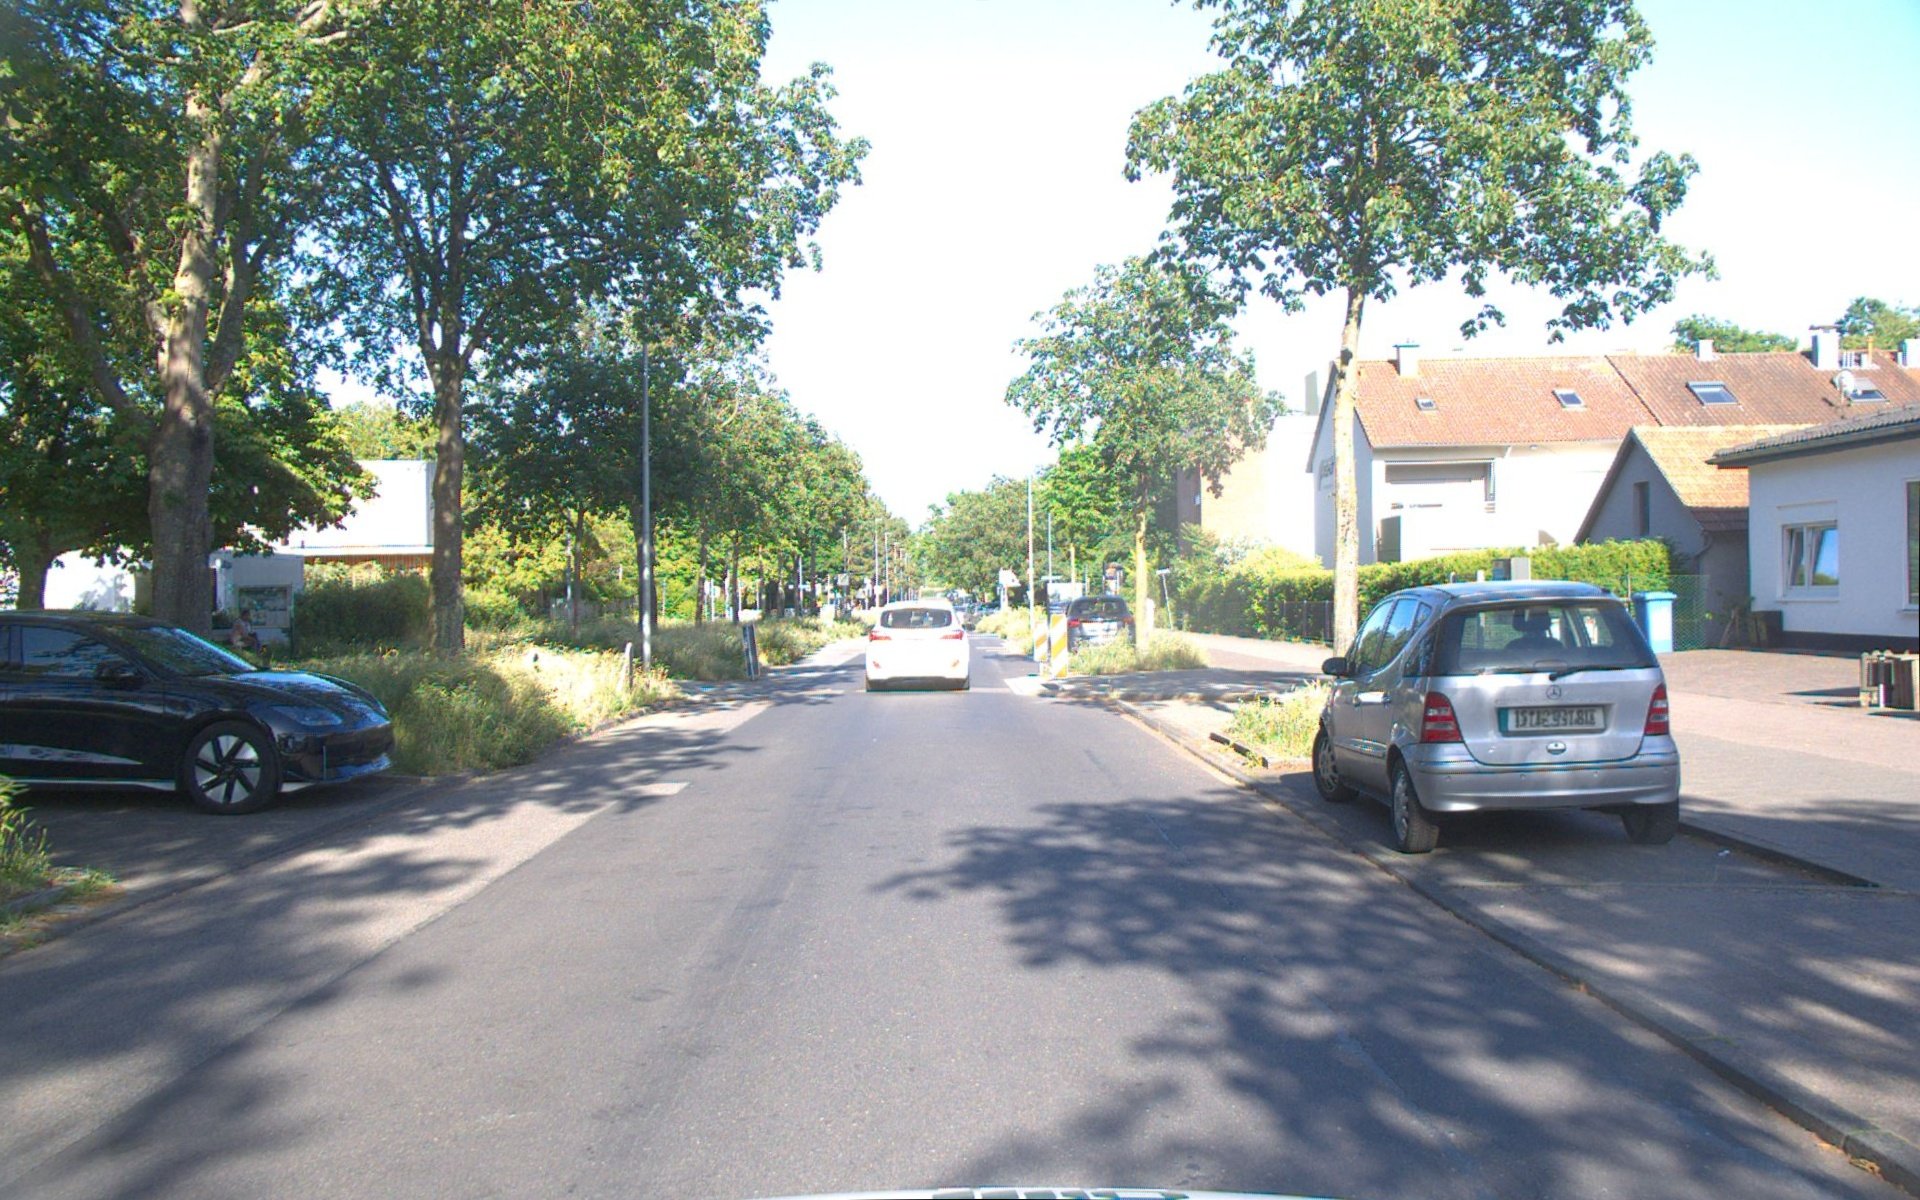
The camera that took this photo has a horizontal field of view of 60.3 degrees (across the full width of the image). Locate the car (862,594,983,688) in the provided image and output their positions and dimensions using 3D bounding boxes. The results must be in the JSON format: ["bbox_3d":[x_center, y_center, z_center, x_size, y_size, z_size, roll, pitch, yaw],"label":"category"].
[{"bbox_3d":[-0.618,0.661,28.982,1.953,1.480,4.224,-1,0,0],"label":"car"}]

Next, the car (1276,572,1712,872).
[{"bbox_3d":[3.463,0.705,11.605,1.577,1.650,4.381,2,0,0],"label":"car"}]

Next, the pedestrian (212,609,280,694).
[{"bbox_3d":[-15.954,1.139,37.013,1.205,1.859,1.543,1,-1,-17],"label":"pedestrian"}]

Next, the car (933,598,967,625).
[{"bbox_3d":[-0.597,0.698,98.849,1.953,1.534,3.657,2,0,-1],"label":"car"}]

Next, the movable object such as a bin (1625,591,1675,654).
[{"bbox_3d":[12.052,0.388,28.886,0.483,1.049,0.747,-4,0,-2],"label":"movable object such as a bin"}]

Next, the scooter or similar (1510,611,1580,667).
[{"bbox_3d":[9.428,0.617,26.695,0.361,0.873,1.407,-1,0,-14],"label":"scooter or similar"}]

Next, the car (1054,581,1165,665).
[{"bbox_3d":[3.427,0.530,38.580,1.954,1.758,3.997,-3,-1,-3],"label":"car"}]

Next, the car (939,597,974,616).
[{"bbox_3d":[-0.450,0.753,188.844,3.907,2.049,1.999,-1,0,-2],"label":"car"}]

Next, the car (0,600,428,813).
[{"bbox_3d":[-6.654,0.785,13.089,4.279,1.558,1.807,1,0,-2],"label":"car"}]

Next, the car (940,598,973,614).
[{"bbox_3d":[-0.438,0.703,199.117,3.908,1.780,1.999,-1,0,-3],"label":"car"}]

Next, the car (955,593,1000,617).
[{"bbox_3d":[1.529,0.470,146.876,3.907,2.049,1.999,-1,0,-2],"label":"car"}]

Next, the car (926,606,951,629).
[{"bbox_3d":[-1.596,1.272,121.532,1.780,1.534,3.657,2,0,-1],"label":"car"}]

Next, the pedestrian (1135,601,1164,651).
[{"bbox_3d":[7.885,1.070,68.939,1.090,2.049,0.921,0,0,-1],"label":"pedestrian"}]
